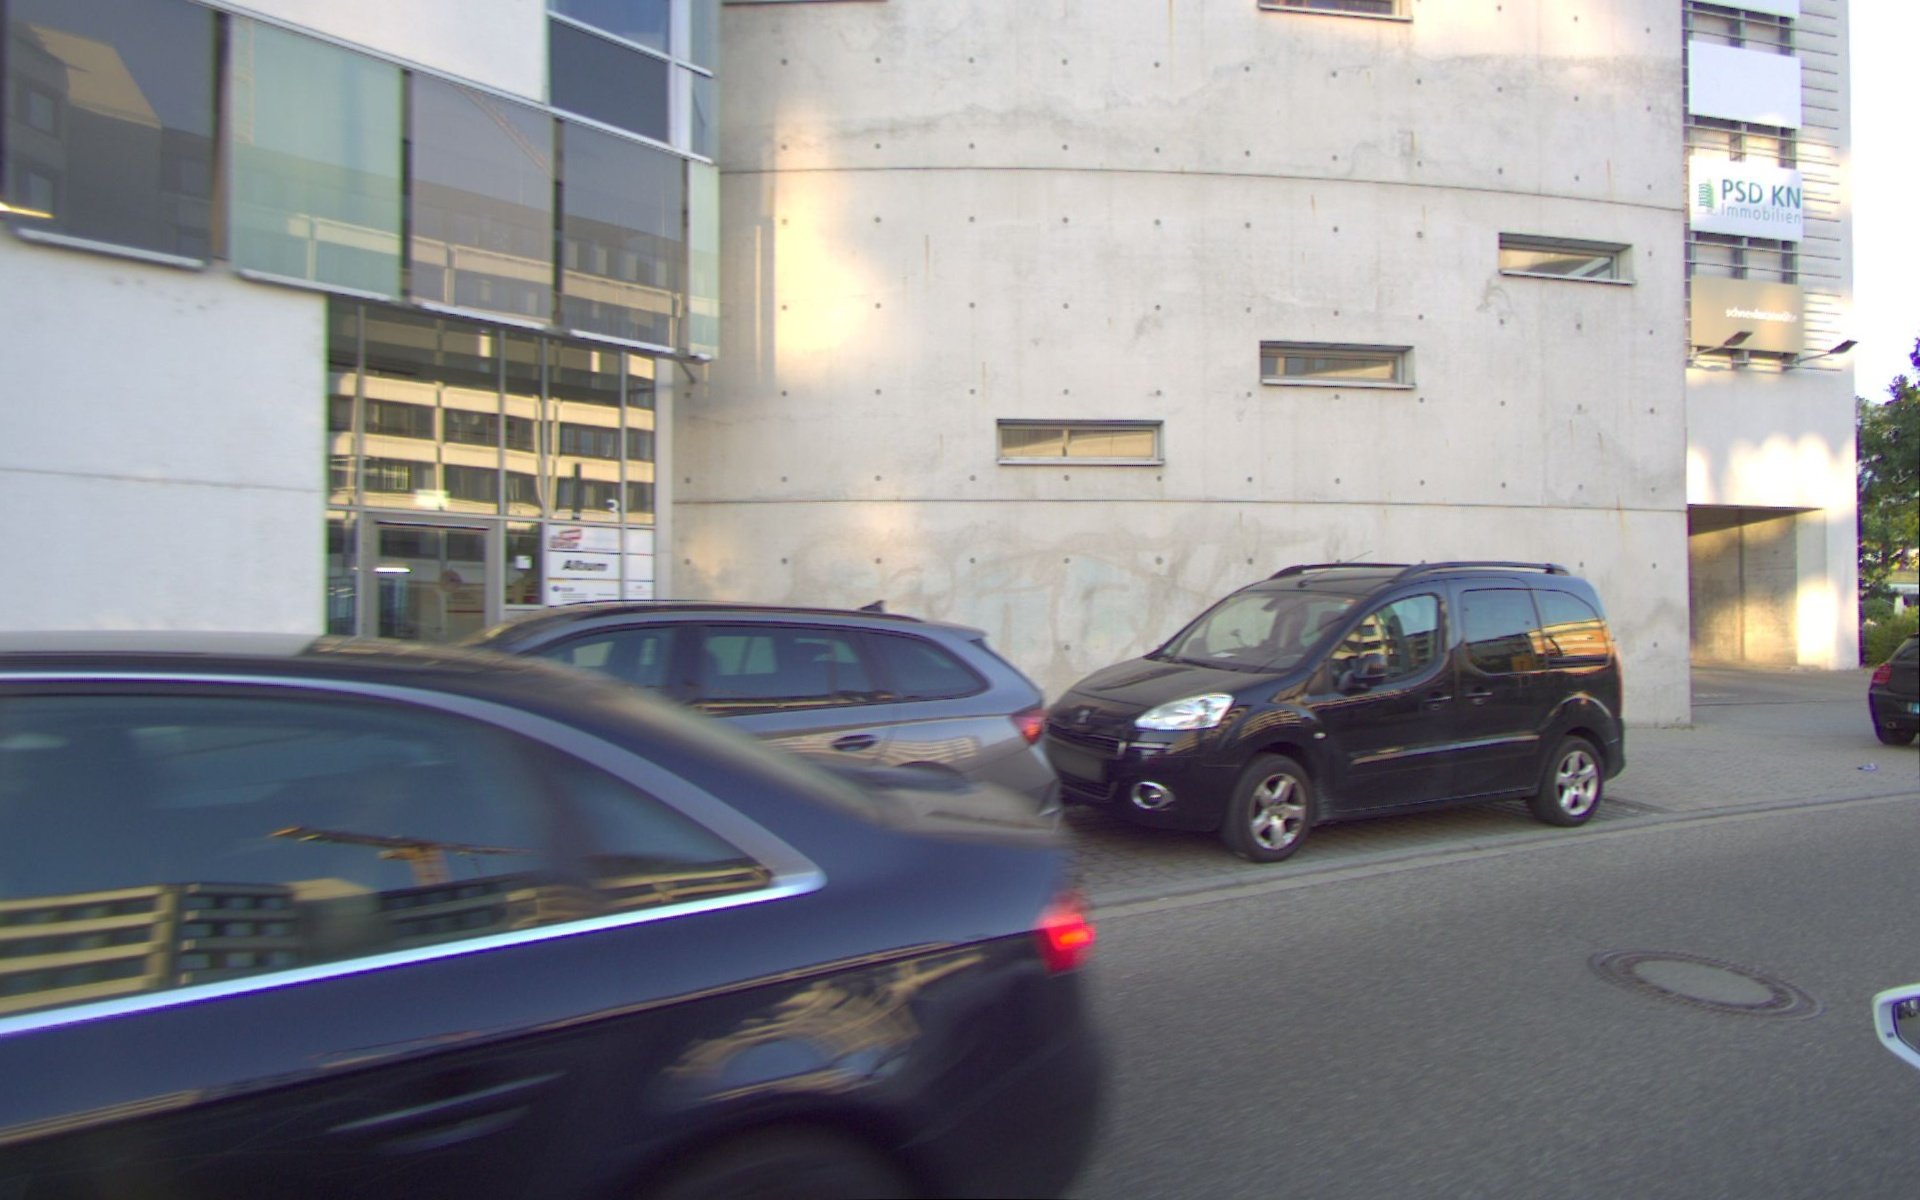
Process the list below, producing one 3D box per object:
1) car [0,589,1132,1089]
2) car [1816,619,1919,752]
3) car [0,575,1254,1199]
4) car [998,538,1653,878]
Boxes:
[{"bbox_3d":[-1.548,0.720,4.747,4.638,1.477,1.714,0,1,-30],"label":"car"},{"bbox_3d":[12.366,0.954,11.671,4.336,1.401,1.939,0,1,-23],"label":"car"},{"bbox_3d":[-1.744,0.700,1.560,4.467,1.441,1.768,1,-1,-33],"label":"car"},{"bbox_3d":[2.628,0.579,7.114,4.402,1.823,1.752,0,1,-25],"label":"car"}]
